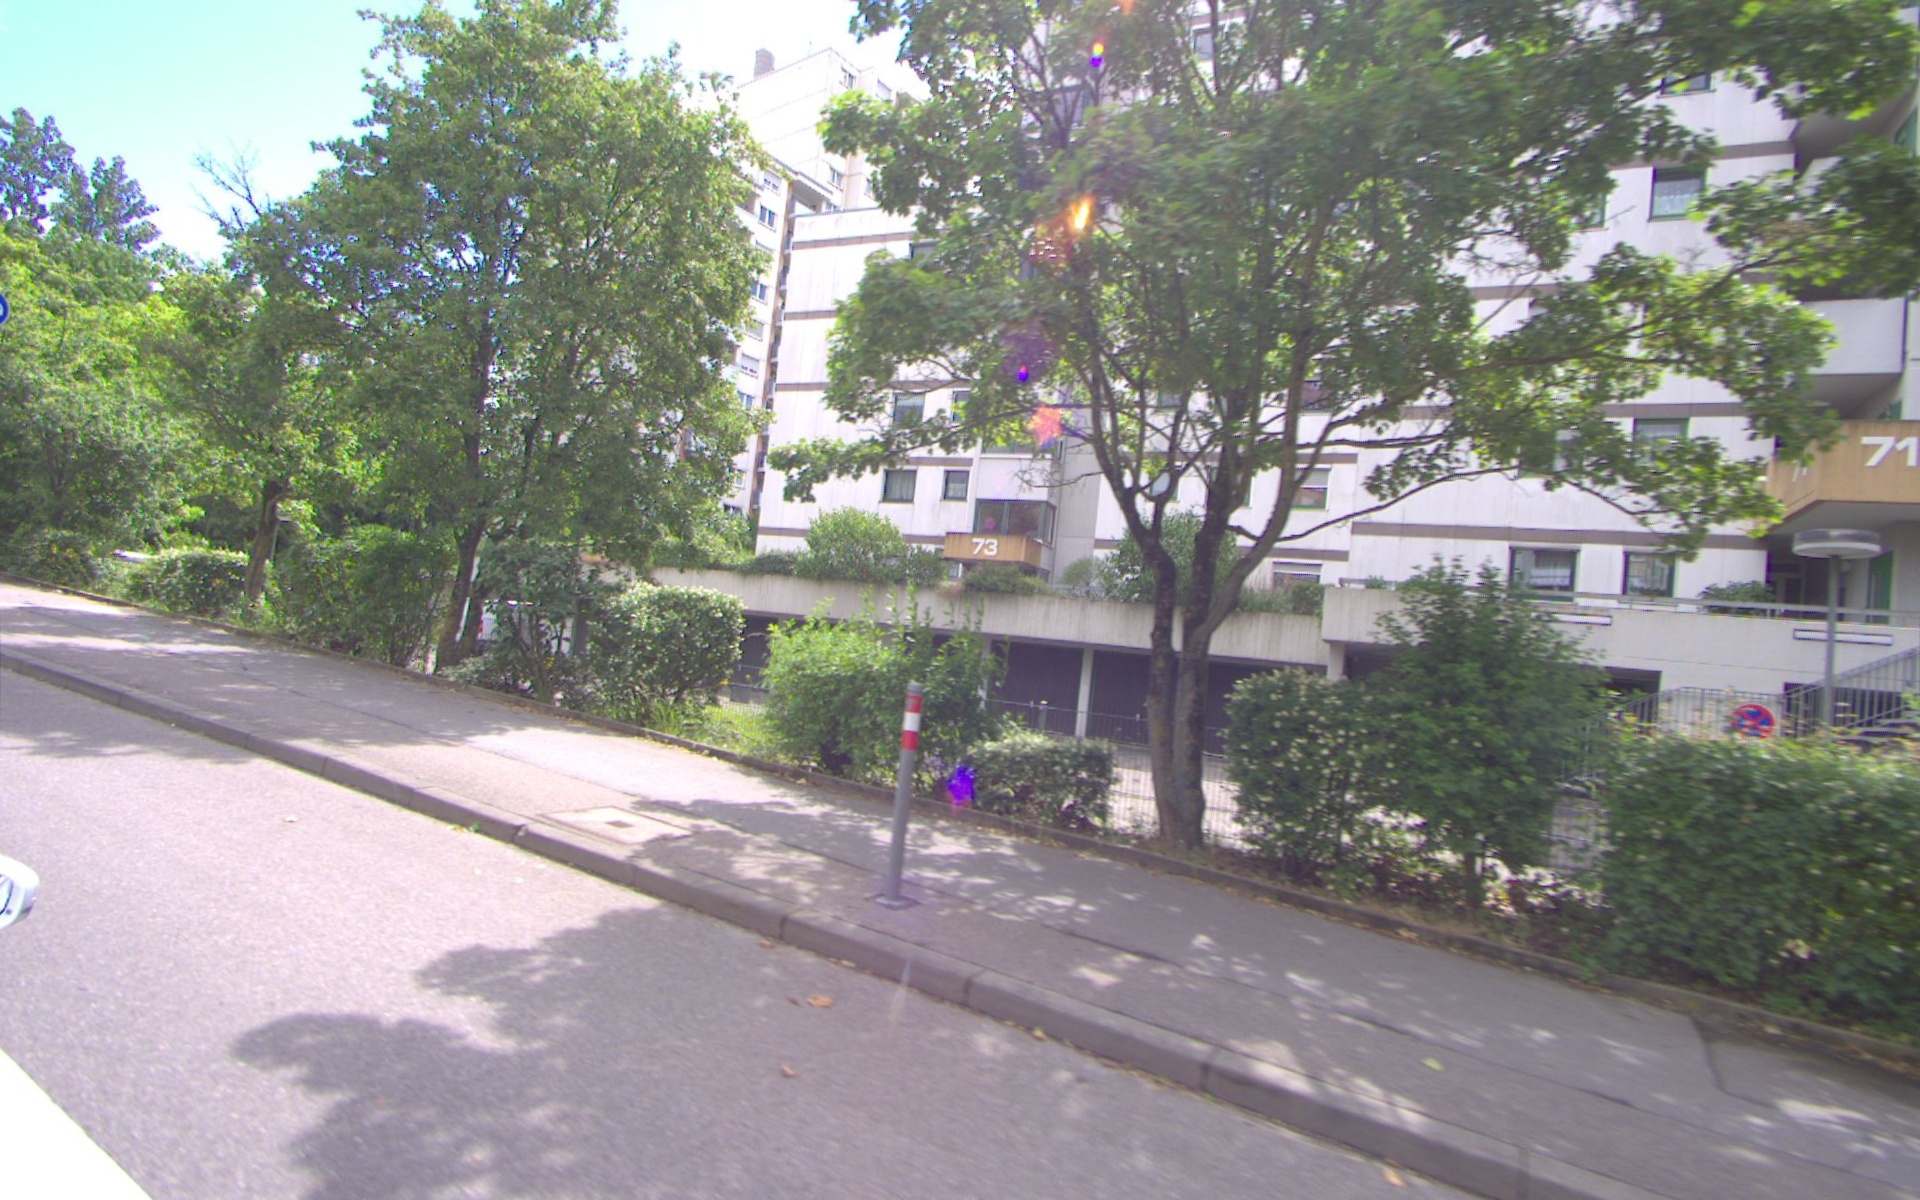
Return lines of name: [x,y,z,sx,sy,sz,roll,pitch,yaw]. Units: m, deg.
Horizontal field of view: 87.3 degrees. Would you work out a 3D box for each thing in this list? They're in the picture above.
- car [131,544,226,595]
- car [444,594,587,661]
car: [-33.967,-1.343,43.687,3.933,1.636,1.829,7,-3,31]
car: [-14.905,0.982,33.921,1.763,1.914,3.991,4,-2,33]
